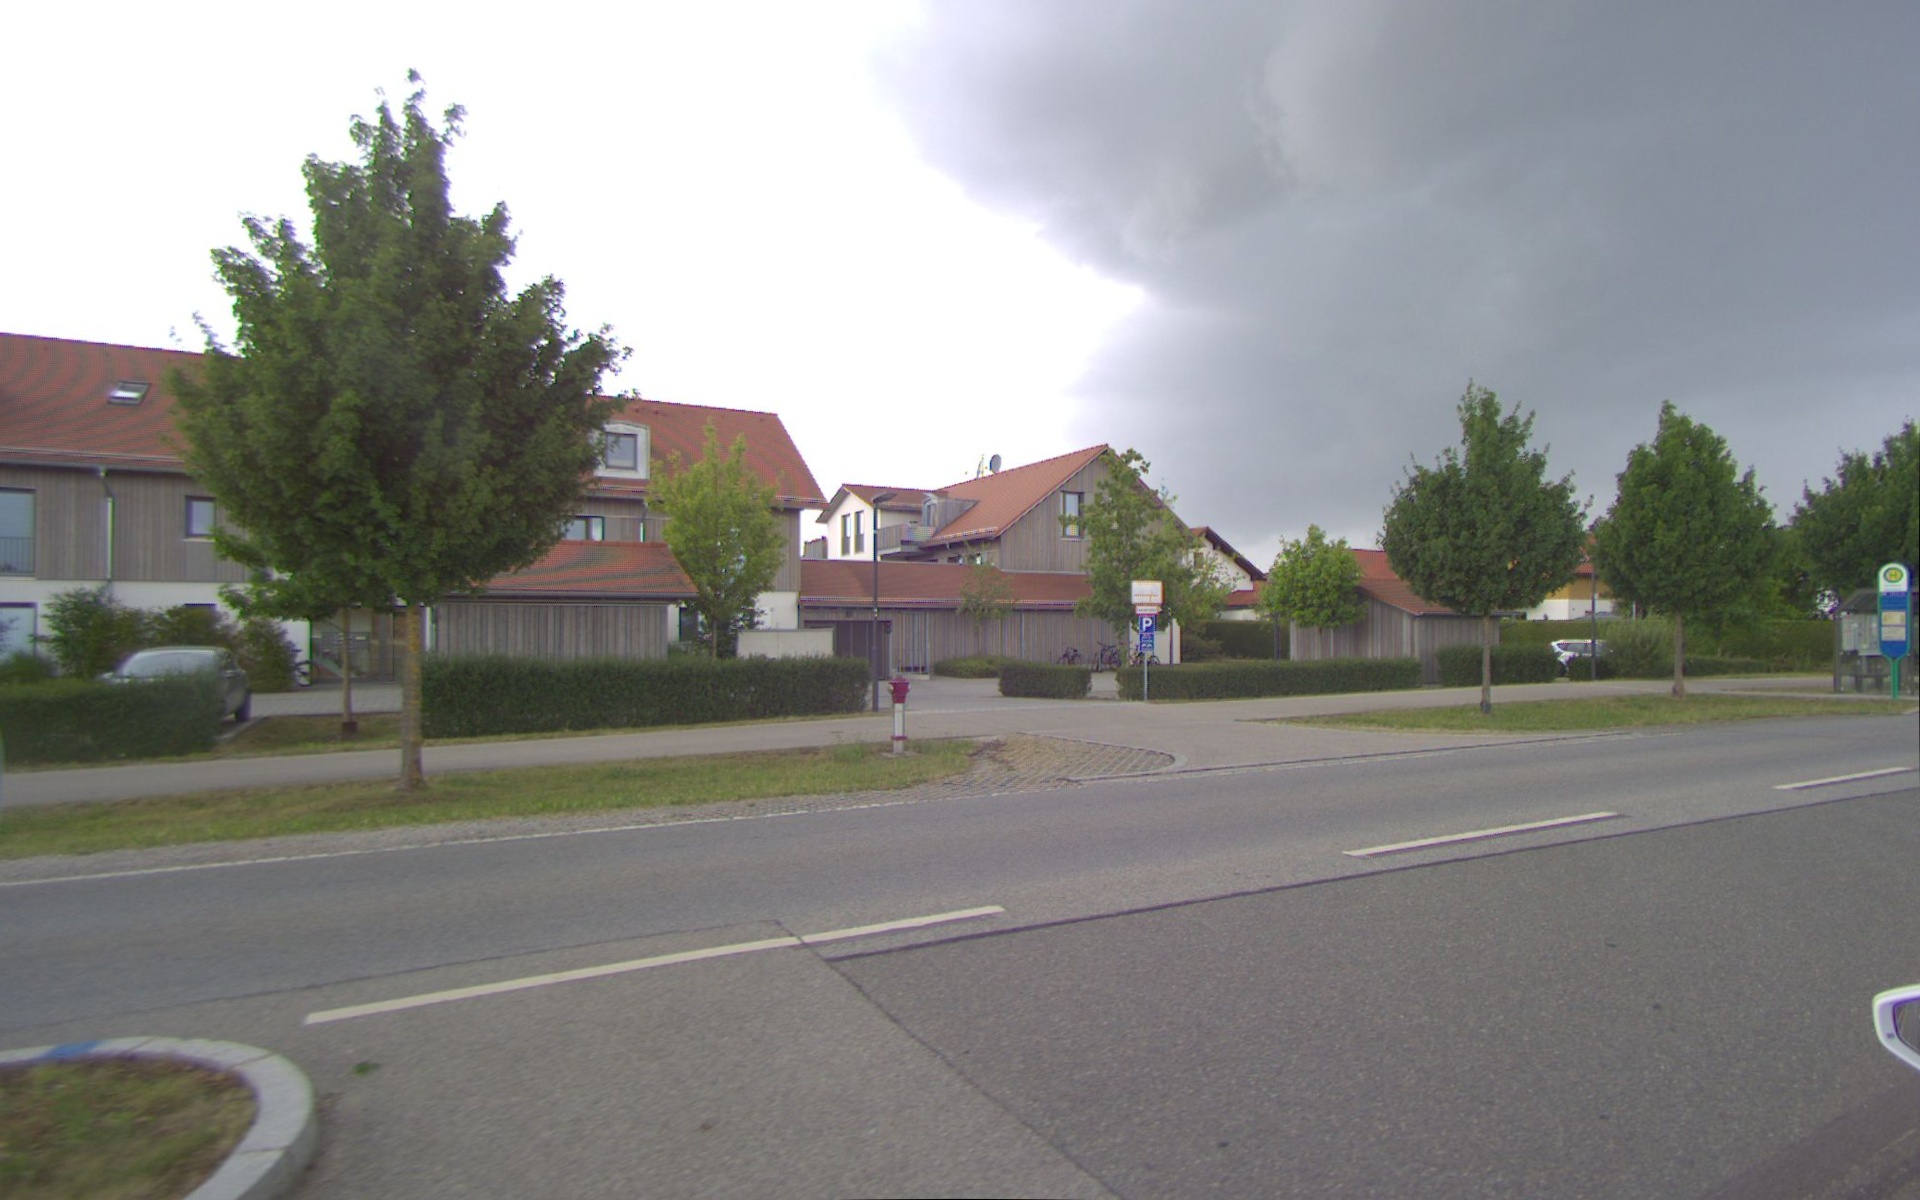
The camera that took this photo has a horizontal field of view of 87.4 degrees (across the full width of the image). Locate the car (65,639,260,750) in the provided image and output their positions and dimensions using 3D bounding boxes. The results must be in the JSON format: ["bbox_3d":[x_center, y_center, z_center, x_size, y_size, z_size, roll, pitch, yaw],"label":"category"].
[{"bbox_3d":[-14.026,1.566,17.947,1.975,1.577,3.972,1,0,-27],"label":"car"}]

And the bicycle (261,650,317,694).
[{"bbox_3d":[-18.438,1.965,27.623,1.255,1.161,0.360,1,-3,-30],"label":"bicycle"}]

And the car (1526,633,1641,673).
[{"bbox_3d":[25.278,2.151,40.823,1.641,1.549,3.572,1,-3,-32],"label":"car"}]
